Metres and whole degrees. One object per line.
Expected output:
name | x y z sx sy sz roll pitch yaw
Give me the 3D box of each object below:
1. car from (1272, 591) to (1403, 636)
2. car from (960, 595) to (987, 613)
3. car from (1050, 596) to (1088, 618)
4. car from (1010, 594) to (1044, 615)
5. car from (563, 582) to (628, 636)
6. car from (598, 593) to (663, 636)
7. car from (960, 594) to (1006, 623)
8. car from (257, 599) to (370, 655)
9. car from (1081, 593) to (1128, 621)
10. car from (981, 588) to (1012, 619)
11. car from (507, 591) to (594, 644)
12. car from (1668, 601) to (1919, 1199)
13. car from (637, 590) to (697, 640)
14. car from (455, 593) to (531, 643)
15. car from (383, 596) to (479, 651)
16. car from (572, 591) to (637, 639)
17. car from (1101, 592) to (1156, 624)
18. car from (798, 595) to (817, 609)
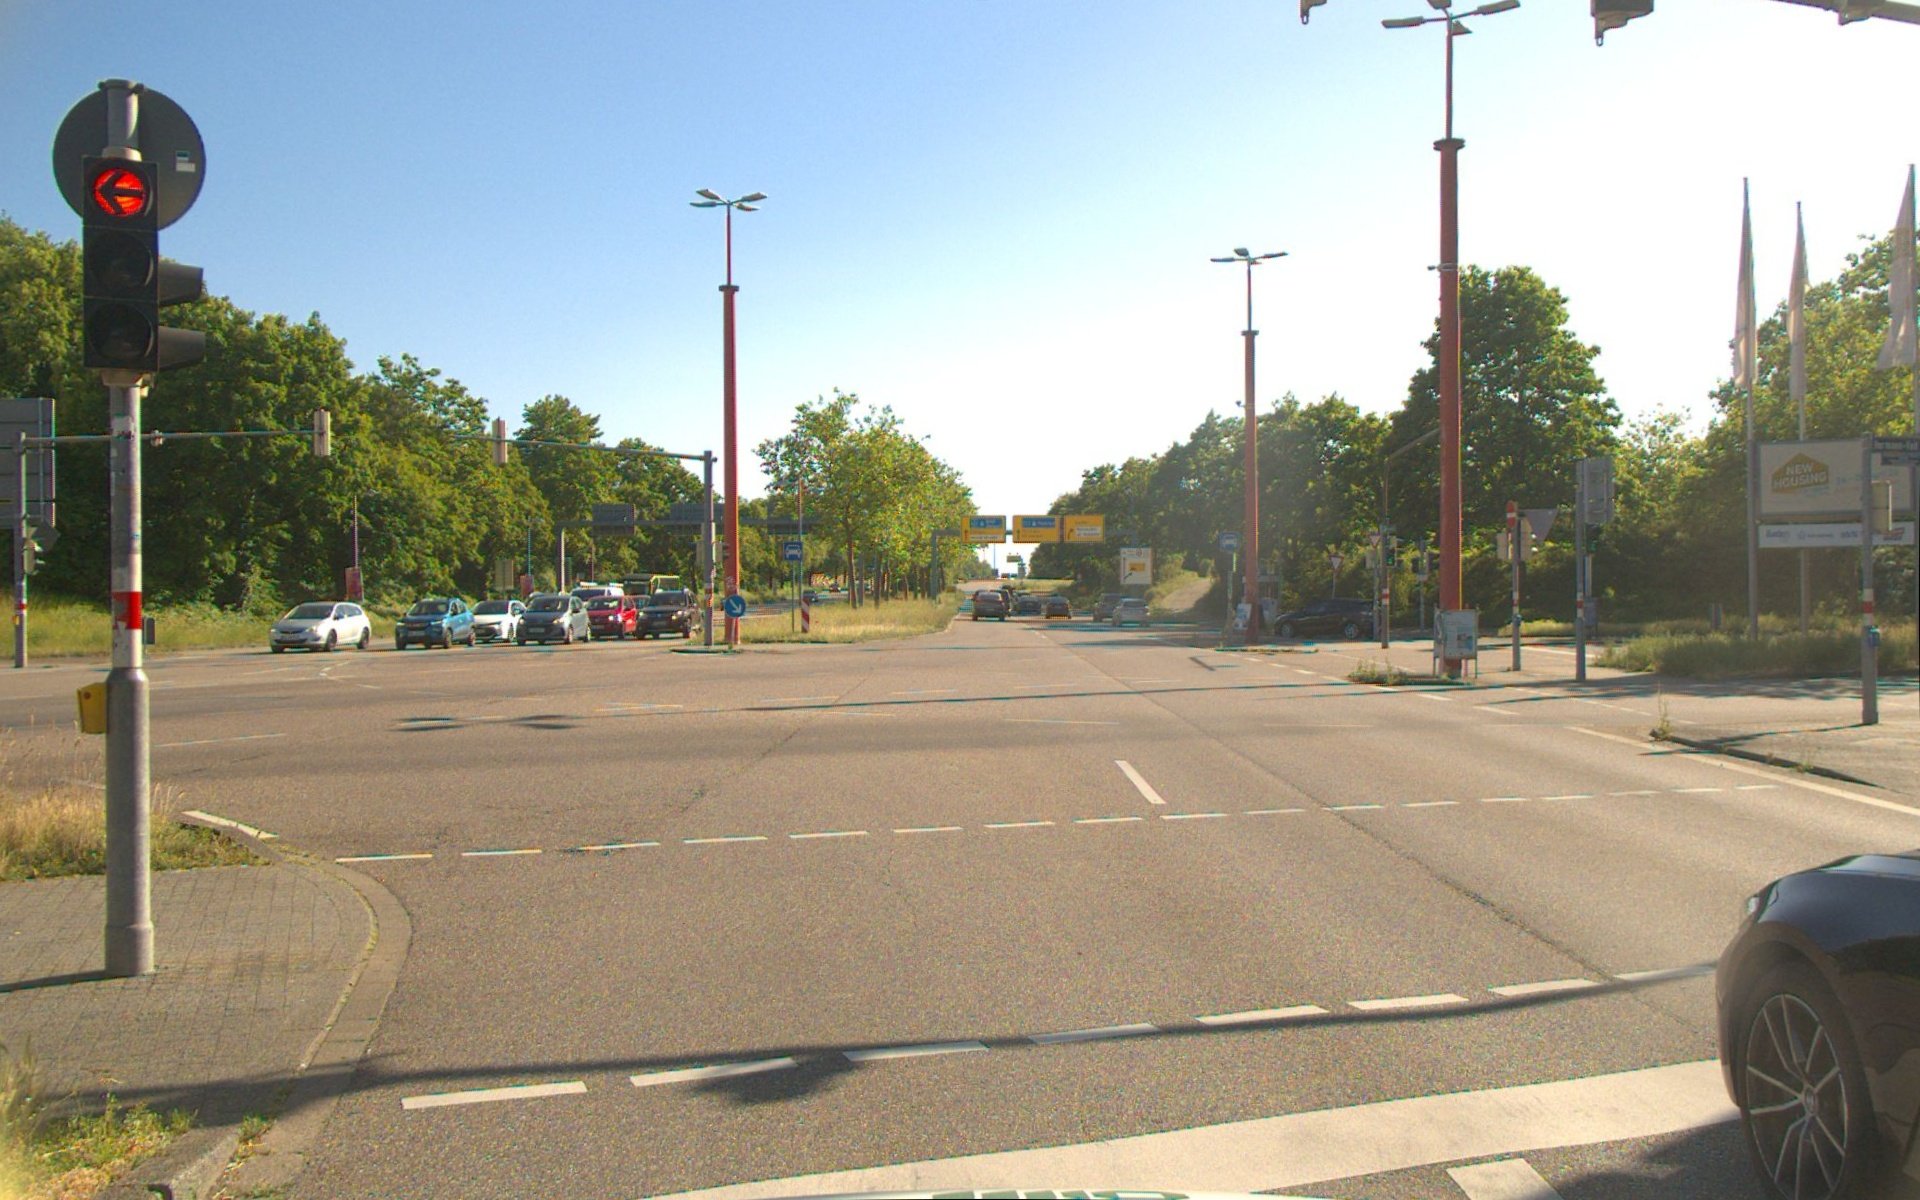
car | 13.855 0.473 60.849 4.206 1.601 2.152 0 0 43
car | 1.217 0.386 149.695 2.116 1.601 4.277 0 0 -4
car | 7.171 0.448 109.520 1.915 1.467 4.277 0 0 -4
car | 5.141 0.336 126.926 2.116 1.601 4.277 0 0 -4
car | -15.674 0.385 71.265 2.021 2.231 4.376 0 0 -3
car | -12.713 0.527 64.047 1.954 1.601 4.117 0 0 -4
car | 1.279 0.455 95.441 2.202 1.601 4.276 0 0 -5
car | -19.588 0.786 50.298 1.954 1.601 4.118 0 0 -3
car | 8.691 0.417 99.806 2.116 1.601 4.277 0 0 -4
car | 2.465 0.243 113.098 1.953 2.049 3.999 0 0 -1
car | -12.806 0.521 51.965 1.954 1.601 4.118 0 0 -4
car | 2.974 0.716 2.362 1.953 1.419 4.476 0 0 -1
car | -9.875 0.488 55.992 1.841 1.601 4.113 0 0 -8
car | -15.992 0.597 56.784 1.956 1.601 4.113 -1 0 -8
car | -16.209 0.682 50.891 1.955 1.601 4.116 0 0 -5
car | -12.481 0.507 58.272 1.956 1.601 4.113 0 0 -8
car | 8.842 0.410 87.144 2.116 1.601 4.277 0 0 -4
car | -17.730 0.263 192.616 1.954 1.601 4.118 0 0 -3
